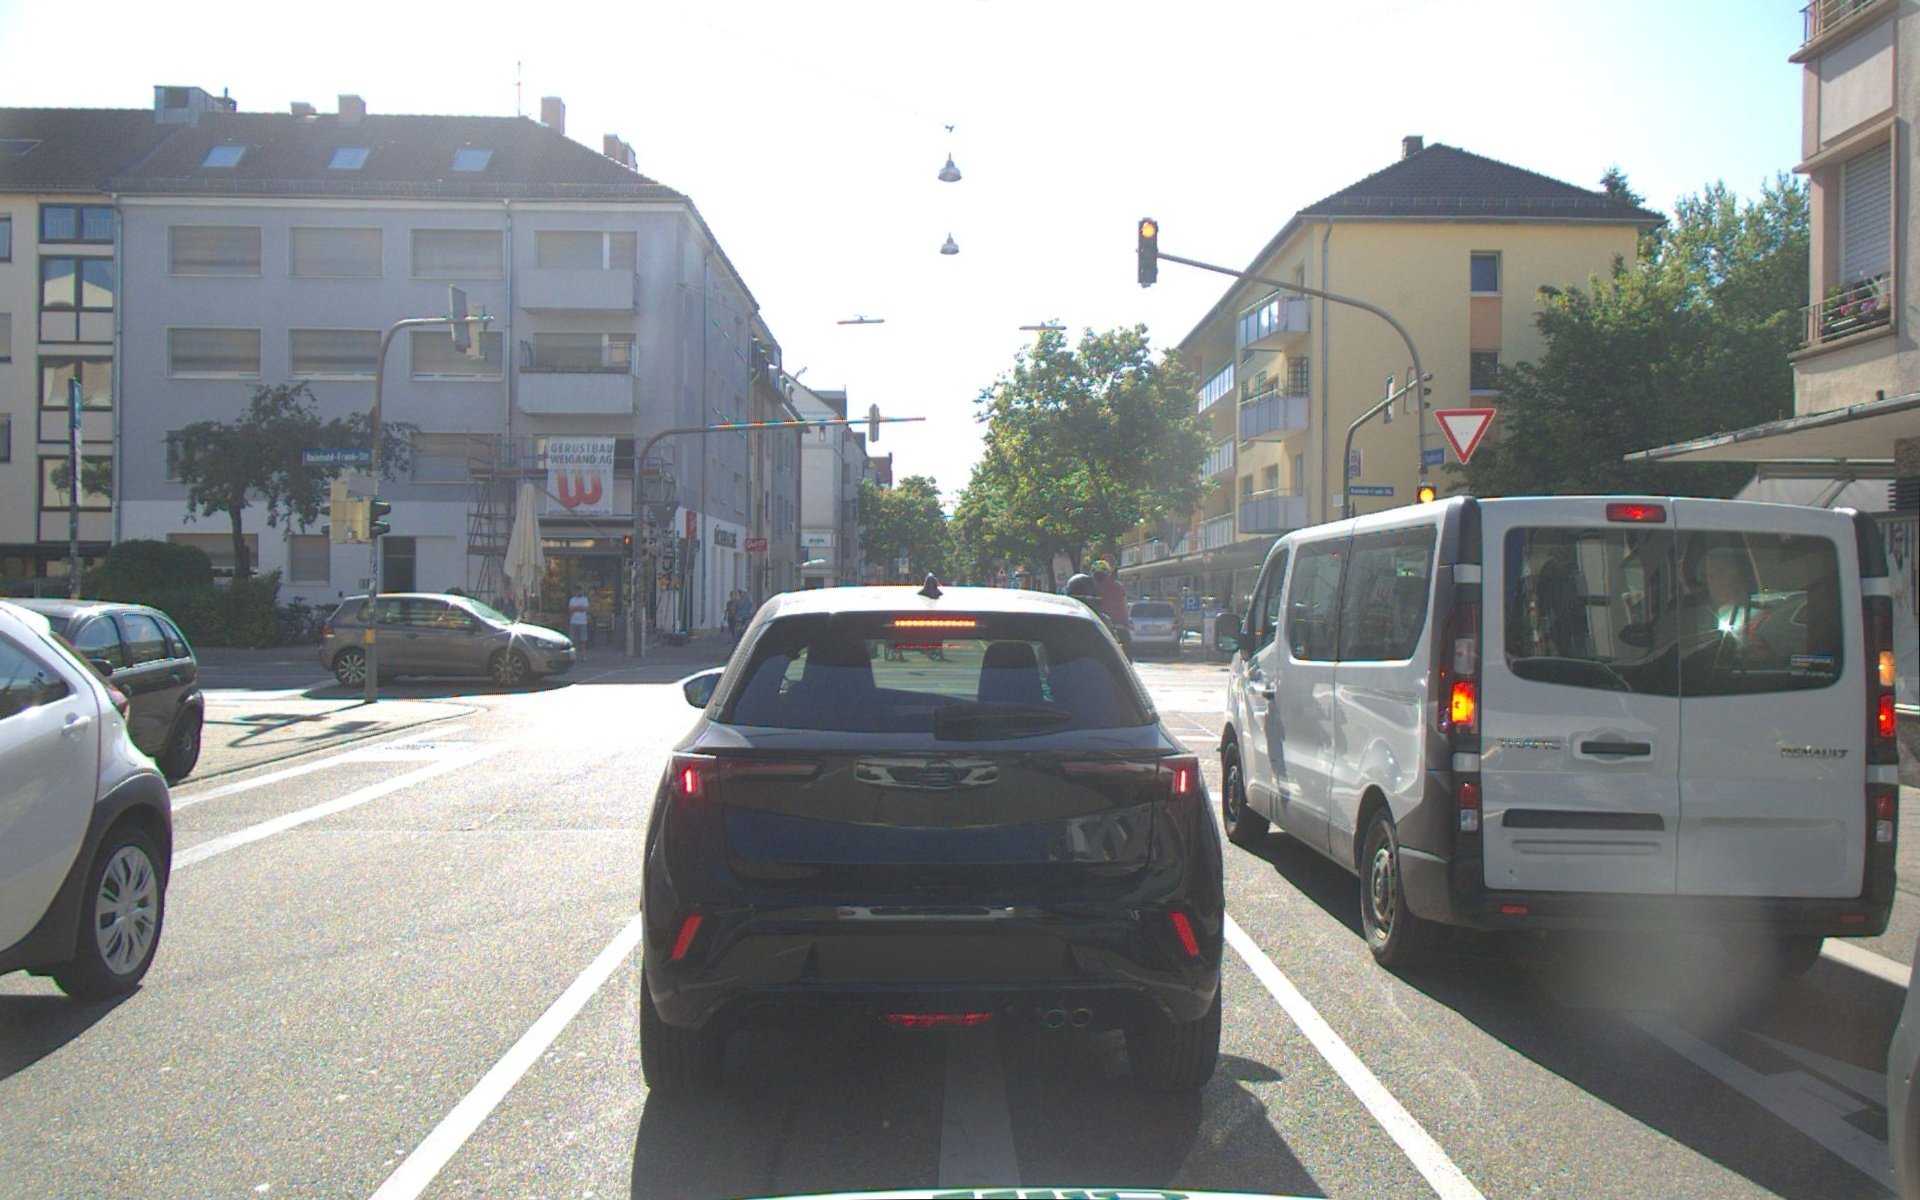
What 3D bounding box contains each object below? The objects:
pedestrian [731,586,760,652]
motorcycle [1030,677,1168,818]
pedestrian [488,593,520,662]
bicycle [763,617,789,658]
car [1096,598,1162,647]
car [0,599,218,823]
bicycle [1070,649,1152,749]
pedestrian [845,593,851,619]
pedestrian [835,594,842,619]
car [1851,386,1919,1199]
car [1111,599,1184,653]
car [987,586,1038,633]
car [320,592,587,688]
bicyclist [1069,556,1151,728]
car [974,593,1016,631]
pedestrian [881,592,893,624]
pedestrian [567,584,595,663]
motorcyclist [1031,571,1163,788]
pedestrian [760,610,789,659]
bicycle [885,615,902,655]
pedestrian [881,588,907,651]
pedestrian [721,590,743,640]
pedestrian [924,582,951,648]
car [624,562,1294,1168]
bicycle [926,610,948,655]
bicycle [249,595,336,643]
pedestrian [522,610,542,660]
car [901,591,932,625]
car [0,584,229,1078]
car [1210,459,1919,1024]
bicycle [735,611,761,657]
[{"bbox_3d":[-5.655,0.493,43.658,0.692,1.707,0.802,0,0,-3],"label":"pedestrian"},{"bbox_3d":[0.980,1.045,12.131,0.808,0.860,1.884,0,0,-1],"label":"motorcycle"},{"bbox_3d":[-10.269,0.620,37.286,0.573,1.547,0.649,0,0,-4],"label":"pedestrian"},{"bbox_3d":[-4.867,0.979,43.862,0.511,1.010,2.338,0,0,-3],"label":"bicycle"},{"bbox_3d":[5.272,0.686,52.044,1.601,1.458,3.999,0,0,-1],"label":"car"},{"bbox_3d":[-7.116,0.730,12.284,1.583,1.450,3.709,0,0,-1],"label":"car"},{"bbox_3d":[1.586,1.025,17.668,0.565,0.920,2.300,0,0,-3],"label":"bicycle"},{"bbox_3d":[-7.393,0.417,108.995,0.394,1.704,0.417,0,0,-1],"label":"pedestrian"},{"bbox_3d":[-8.025,0.429,109.366,0.394,1.704,0.417,0,0,-1],"label":"pedestrian"},{"bbox_3d":[3.000,0.521,1.218,1.800,1.901,4.993,0,0,-3],"label":"car"},{"bbox_3d":[5.322,0.710,47.365,1.601,1.458,3.956,0,0,-1],"label":"car"},{"bbox_3d":[1.977,0.336,63.391,1.863,1.758,4.073,0,0,1],"label":"car"},{"bbox_3d":[-8.434,0.647,27.785,3.906,1.512,1.833,-1,0,-1],"label":"car"},{"bbox_3d":[1.574,0.428,17.560,0.675,1.742,1.413,0,0,-3],"label":"bicyclist"},{"bbox_3d":[1.640,0.535,78.733,1.863,1.758,4.000,0,0,0],"label":"car"},{"bbox_3d":[-4.010,0.426,90.824,0.558,1.719,0.588,1,0,5],"label":"pedestrian"},{"bbox_3d":[-8.692,0.530,37.943,0.550,1.806,0.582,1,0,-9],"label":"pedestrian"},{"bbox_3d":[0.999,0.562,12.298,0.846,1.528,1.159,0,0,-2],"label":"motorcyclist"},{"bbox_3d":[-4.858,0.901,43.400,0.692,1.275,0.802,0,0,-3],"label":"pedestrian"},{"bbox_3d":[-1.762,0.914,43.661,0.434,1.010,2.068,0,0,-3],"label":"bicycle"},{"bbox_3d":[-1.750,0.508,43.725,0.666,1.634,0.762,0,0,-3],"label":"pedestrian"},{"bbox_3d":[-7.019,0.459,50.860,0.605,1.547,0.724,0,0,-4],"label":"pedestrian"},{"bbox_3d":[-0.602,0.388,43.591,0.692,1.731,0.802,0,0,-3],"label":"pedestrian"},{"bbox_3d":[-0.080,0.679,6.296,1.735,1.557,3.998,0,0,-3],"label":"car"},{"bbox_3d":[-0.613,0.847,43.814,0.511,1.167,2.169,0,0,-3],"label":"bicycle"},{"bbox_3d":[-17.129,0.482,42.448,2.067,1.193,0.735,0,0,-25],"label":"bicycle"},{"bbox_3d":[-9.633,0.788,37.247,0.348,1.111,0.461,0,0,-4],"label":"pedestrian"},{"bbox_3d":[-2.620,0.483,100.780,1.817,2.049,3.880,0,0,-1],"label":"car"},{"bbox_3d":[-3.898,0.726,4.991,1.729,1.563,3.785,0,0,-1],"label":"car"},{"bbox_3d":[2.701,0.515,8.466,1.953,2.014,4.894,1,0,-1],"label":"car"},{"bbox_3d":[-5.611,0.877,43.847,0.511,1.167,2.282,0,0,-3],"label":"bicycle"}]
